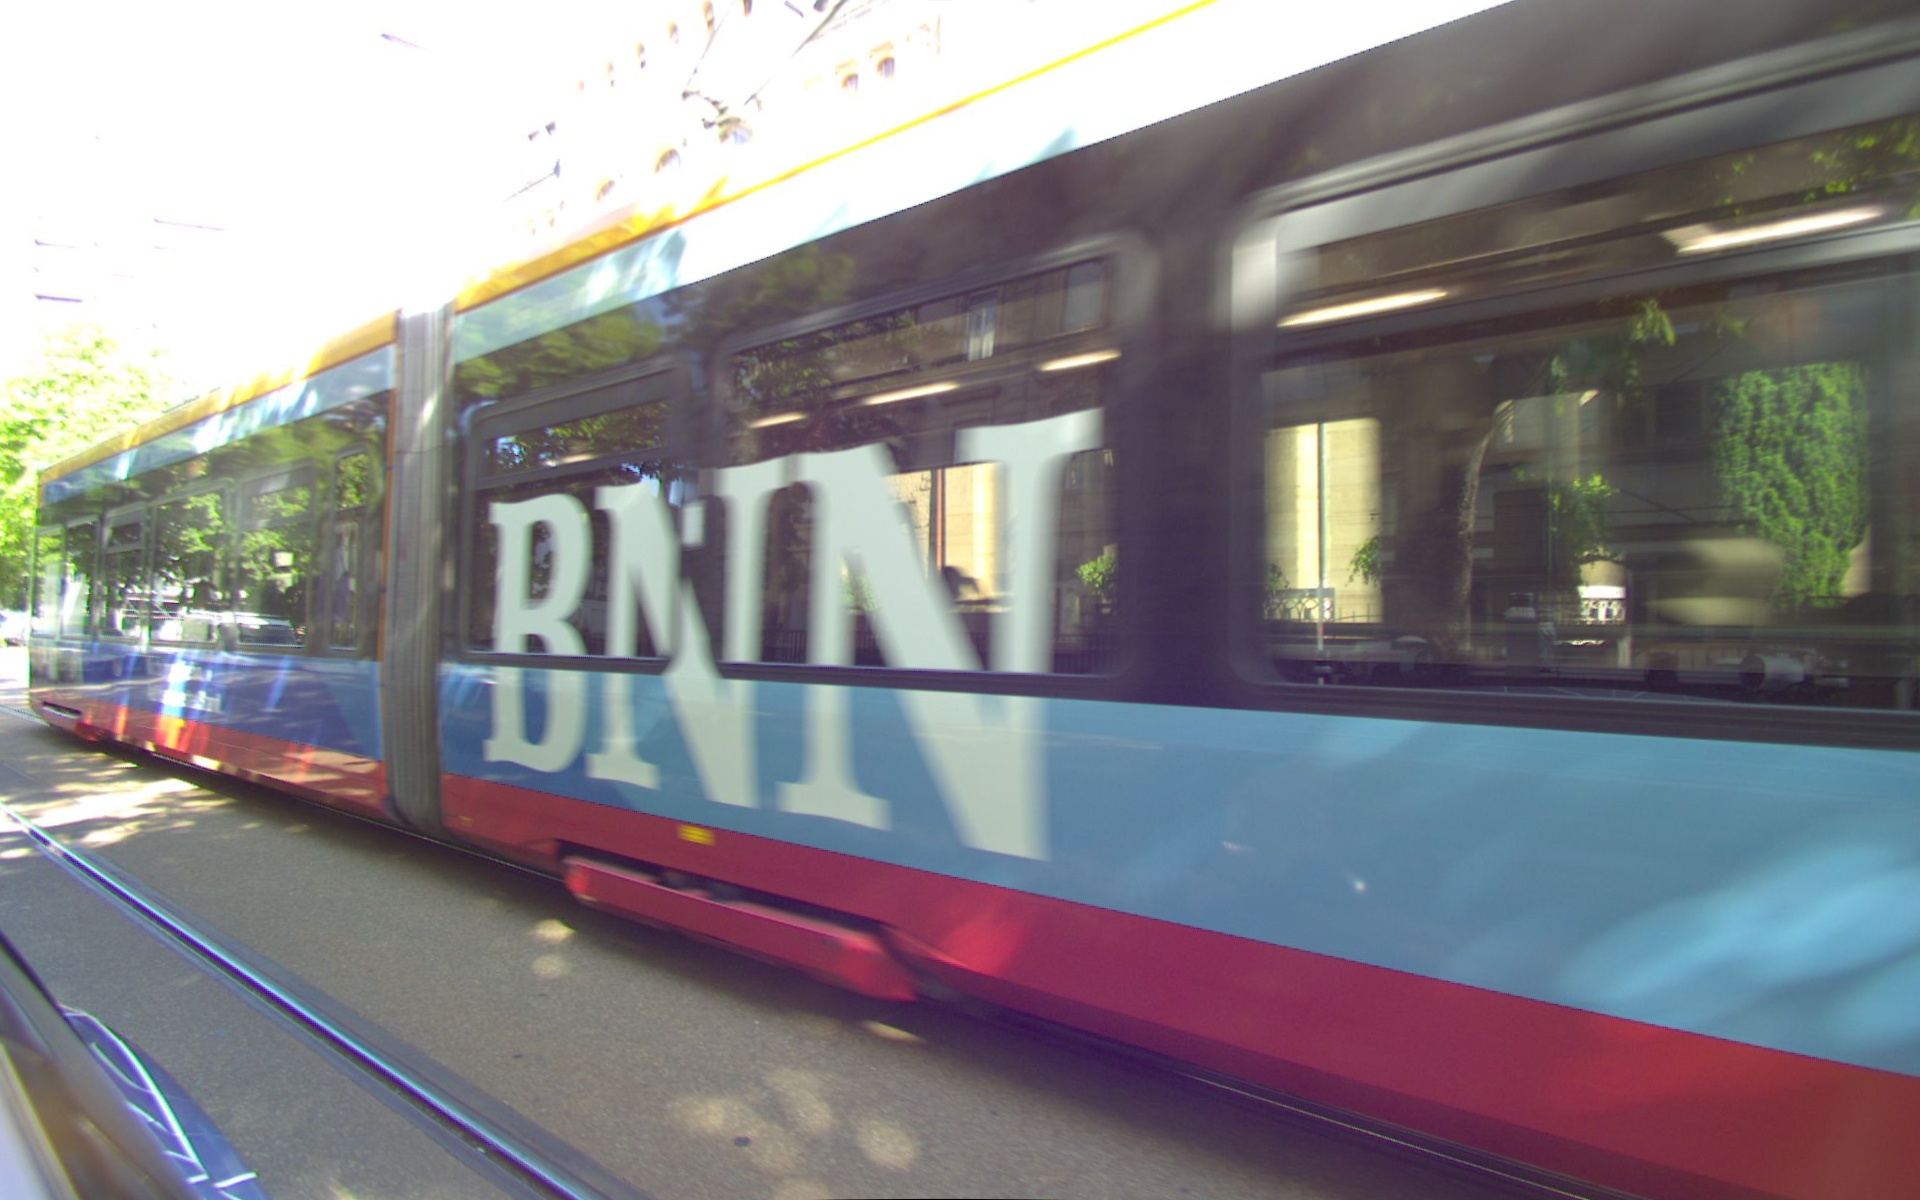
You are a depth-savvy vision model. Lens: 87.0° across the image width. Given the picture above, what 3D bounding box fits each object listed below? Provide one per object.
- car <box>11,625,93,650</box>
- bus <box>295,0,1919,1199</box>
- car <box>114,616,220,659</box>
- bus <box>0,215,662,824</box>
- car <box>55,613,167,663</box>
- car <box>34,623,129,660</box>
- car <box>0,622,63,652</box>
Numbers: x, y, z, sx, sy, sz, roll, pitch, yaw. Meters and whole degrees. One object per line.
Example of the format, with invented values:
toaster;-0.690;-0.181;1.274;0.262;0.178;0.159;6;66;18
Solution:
car;-44.358;1.803;49.465;1.220;1.097;2.734;0;0;23
bus;1.259;-0.541;3.681;11.170;3.805;2.832;0;0;39
car;-29.048;1.348;37.137;1.451;1.446;2.734;0;0;24
bus;-7.884;-0.494;11.045;11.484;3.805;2.832;0;0;39
car;-34.681;1.498;41.447;1.894;1.885;3.447;0;0;-5
car;-37.564;1.766;43.327;1.451;1.446;2.734;0;0;24
car;-49.909;1.956;54.040;1.220;1.436;2.734;0;0;23
